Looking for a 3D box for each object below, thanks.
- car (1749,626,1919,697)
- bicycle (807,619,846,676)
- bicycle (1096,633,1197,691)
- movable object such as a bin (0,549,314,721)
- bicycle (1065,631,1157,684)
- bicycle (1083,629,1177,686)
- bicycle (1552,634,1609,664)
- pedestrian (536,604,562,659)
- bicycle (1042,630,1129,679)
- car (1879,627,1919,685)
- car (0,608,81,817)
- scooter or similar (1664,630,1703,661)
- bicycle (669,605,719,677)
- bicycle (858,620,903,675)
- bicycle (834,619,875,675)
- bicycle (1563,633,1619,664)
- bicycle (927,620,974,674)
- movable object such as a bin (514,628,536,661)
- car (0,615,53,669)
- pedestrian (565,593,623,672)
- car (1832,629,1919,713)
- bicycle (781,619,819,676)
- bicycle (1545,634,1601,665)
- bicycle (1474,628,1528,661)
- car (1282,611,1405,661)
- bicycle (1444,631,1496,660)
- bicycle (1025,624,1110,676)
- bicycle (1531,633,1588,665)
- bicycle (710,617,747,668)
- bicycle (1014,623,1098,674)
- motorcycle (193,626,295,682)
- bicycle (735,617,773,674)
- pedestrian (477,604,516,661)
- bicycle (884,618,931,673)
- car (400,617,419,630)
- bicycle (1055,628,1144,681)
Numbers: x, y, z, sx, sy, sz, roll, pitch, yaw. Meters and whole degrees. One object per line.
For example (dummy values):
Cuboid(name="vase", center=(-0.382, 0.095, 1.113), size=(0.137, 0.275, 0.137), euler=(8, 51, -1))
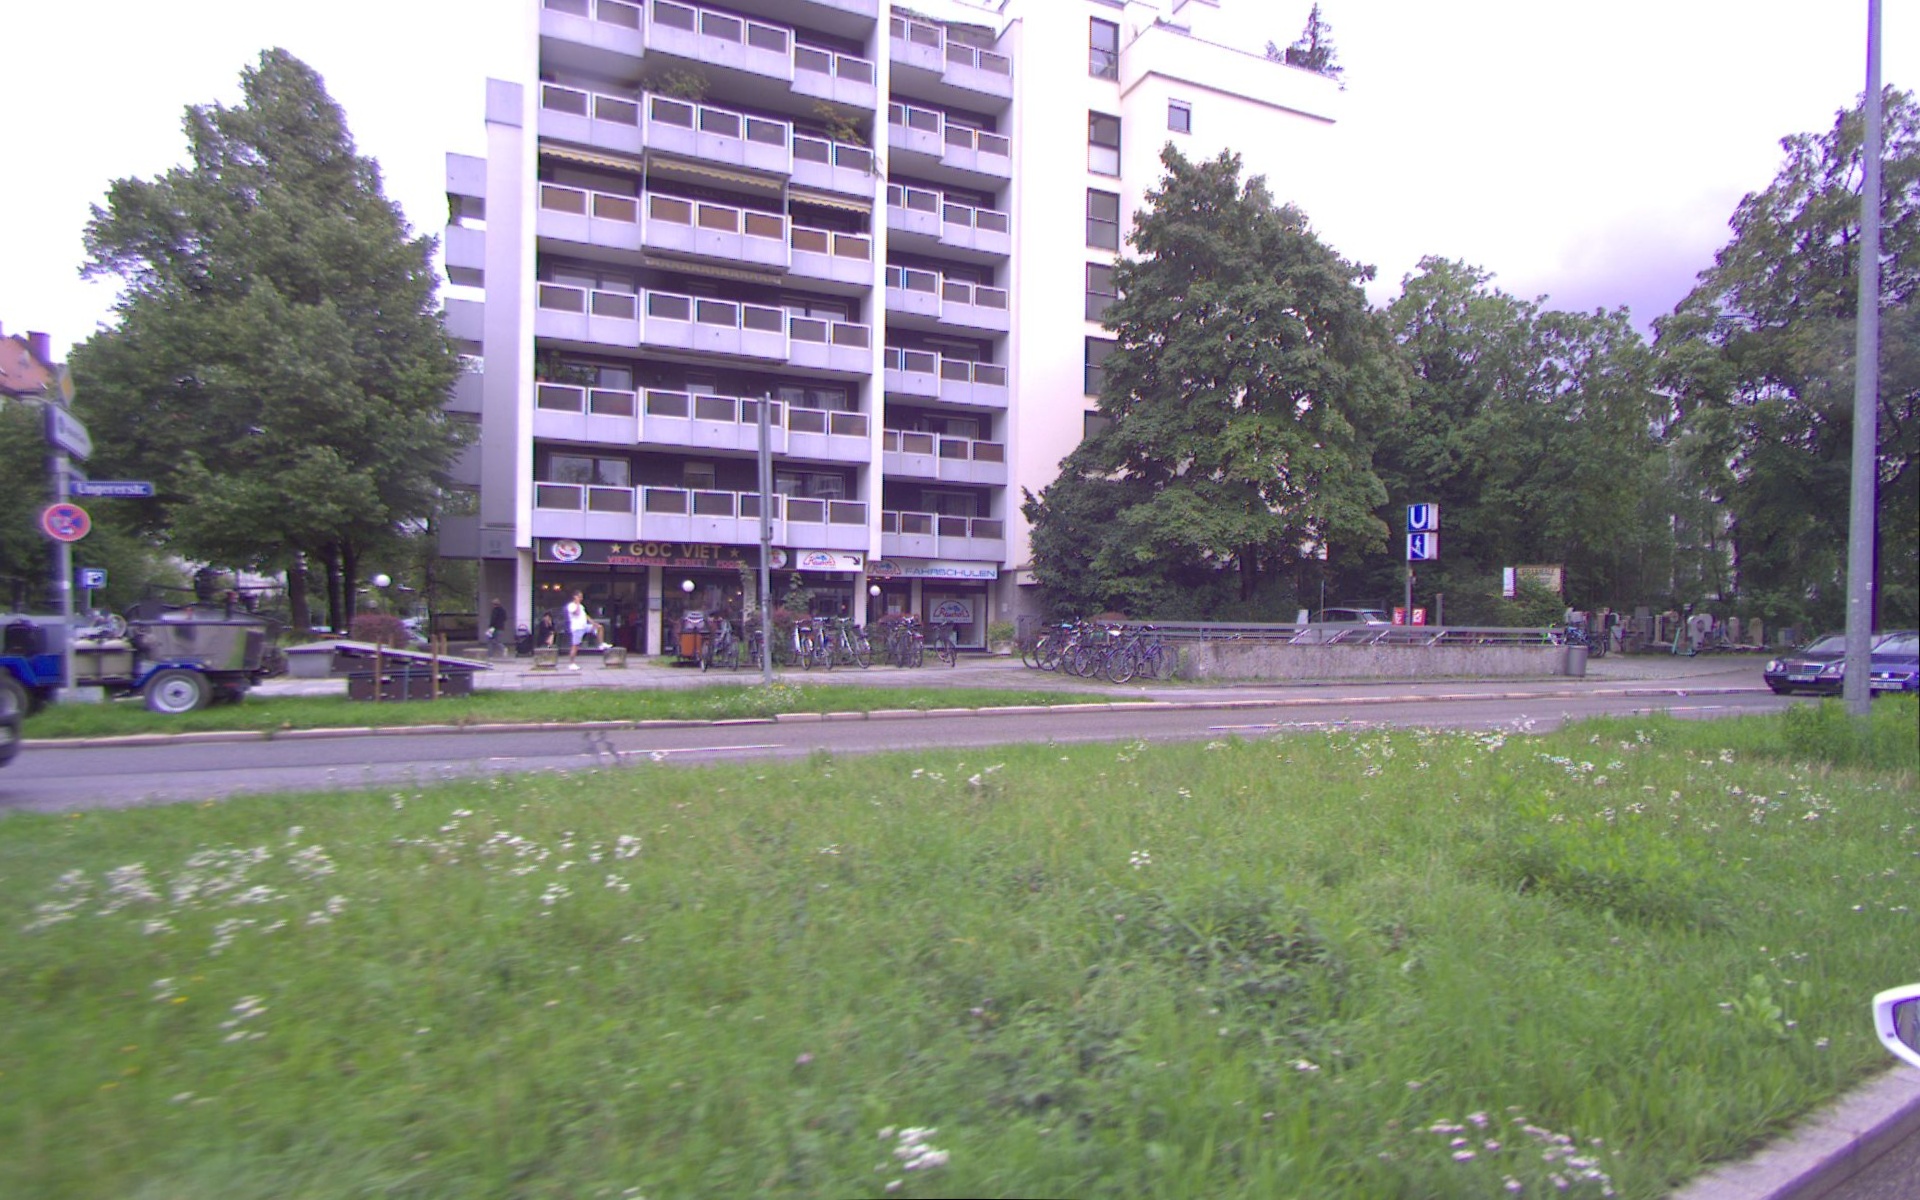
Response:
Cuboid(name="car", center=(20.062, 1.365, 22.945), size=(3.914, 1.504, 1.686), euler=(1, -1, -26))
Cuboid(name="bicycle", center=(-3.150, 1.086, 23.567), size=(0.482, 1.118, 1.944), euler=(1, 3, -20))
Cuboid(name="bicycle", center=(3.744, 1.228, 20.121), size=(2.054, 1.104, 0.407), euler=(1, 3, -22))
Cuboid(name="movable object such as a bin", center=(-10.789, 0.439, 12.971), size=(3.953, 1.979, 2.183), euler=(1, -1, -30))
Cuboid(name="bicycle", center=(3.190, 1.203, 21.182), size=(1.926, 1.054, 0.407), euler=(1, 3, -22))
Cuboid(name="bicycle", center=(3.497, 1.172, 20.584), size=(1.926, 1.092, 0.407), euler=(1, 3, -22))
Cuboid(name="bicycle", center=(21.750, 1.707, 35.237), size=(0.430, 1.020, 1.757), euler=(1, -1, -24))
Cuboid(name="pedestrian", center=(-12.180, 0.942, 29.755), size=(0.659, 1.606, 0.655), euler=(1, -1, -26))
Cuboid(name="bicycle", center=(2.777, 1.199, 22.242), size=(1.926, 1.044, 0.407), euler=(1, 3, -22))
Cuboid(name="car", center=(29.346, 1.675, 29.789), size=(3.764, 1.636, 1.643), euler=(1, 1, -23))
Cuboid(name="car", center=(-8.569, 0.727, 6.429), size=(4.048, 1.424, 1.776), euler=(1, -2, -26))
Cuboid(name="scooter or similar", center=(27.126, 1.712, 37.666), size=(1.267, 1.142, 0.435), euler=(1, -1, -12))
Cuboid(name="bicycle", center=(-6.139, 0.889, 23.058), size=(0.776, 1.300, 3.321), euler=(1, 3, -20))
Cuboid(name="bicycle", center=(-1.933, 1.118, 24.124), size=(0.551, 1.118, 1.944), euler=(1, 3, -20))
Cuboid(name="bicycle", center=(-2.519, 1.092, 23.819), size=(0.482, 1.118, 1.944), euler=(1, 3, -20))
Cuboid(name="bicycle", center=(22.279, 1.703, 35.489), size=(0.430, 1.020, 1.757), euler=(1, -1, -24))
Cuboid(name="bicycle", center=(-0.253, 1.129, 24.675), size=(0.482, 1.118, 1.944), euler=(1, 3, -20))
Cuboid(name="movable object such as a bin", center=(-12.835, 1.314, 29.639), size=(0.531, 0.978, 0.371), euler=(1, -1, -32))
Cuboid(name="car", center=(-32.210, 1.358, 33.304), size=(1.973, 1.704, 4.235), euler=(1, -1, -25))
Cuboid(name="pedestrian", center=(-8.263, 0.730, 22.682), size=(1.118, 1.731, 0.665), euler=(1, -1, -30))
Cuboid(name="car", center=(18.164, 1.281, 18.582), size=(3.914, 1.421, 1.686), euler=(1, -1, -26))
Cuboid(name="bicycle", center=(-3.735, 1.091, 23.374), size=(0.482, 1.118, 1.944), euler=(1, 3, -20))
Cuboid(name="bicycle", center=(21.245, 1.691, 34.844), size=(0.430, 1.020, 1.757), euler=(1, -1, -24))
Cuboid(name="bicycle", center=(19.225, 1.583, 35.702), size=(2.003, 1.114, 0.577), euler=(1, -1, -24))
Cuboid(name="car", center=(13.150, 1.197, 34.639), size=(1.723, 1.610, 3.979), euler=(1, -1, -22))
Cuboid(name="bicycle", center=(18.633, 1.660, 36.676), size=(2.003, 1.020, 0.577), euler=(1, -1, -24))
Cuboid(name="bicycle", center=(2.439, 1.116, 22.721), size=(1.926, 1.119, 0.407), euler=(1, 3, -22))
Cuboid(name="bicycle", center=(20.514, 1.668, 34.381), size=(0.430, 1.020, 1.757), euler=(1, -1, -24))
Cuboid(name="bicycle", center=(-5.271, 0.938, 22.814), size=(0.551, 1.118, 1.945), euler=(1, -1, -20))
Cuboid(name="bicycle", center=(2.229, 1.123, 23.194), size=(1.926, 1.112, 0.407), euler=(1, 3, -22))
Cuboid(name="motorcycle", center=(-14.397, 1.077, 20.219), size=(1.748, 1.101, 0.419), euler=(1, -1, 1))
Cuboid(name="bicycle", center=(-4.730, 1.019, 23.015), size=(0.551, 1.118, 1.944), euler=(1, 3, -20))
Cuboid(name="pedestrian", center=(-13.443, 0.940, 29.120), size=(0.736, 1.620, 0.702), euler=(0, -1, 31))
Cuboid(name="bicycle", center=(-1.296, 1.078, 24.290), size=(0.551, 1.118, 1.944), euler=(1, 3, -20))
Cuboid(name="car", center=(-70.821, 2.991, 129.319), size=(1.911, 1.614, 3.975), euler=(1, -1, -25))
Cuboid(name="bicycle", center=(3.020, 1.180, 21.709), size=(1.926, 1.087, 0.407), euler=(1, 3, -22))
